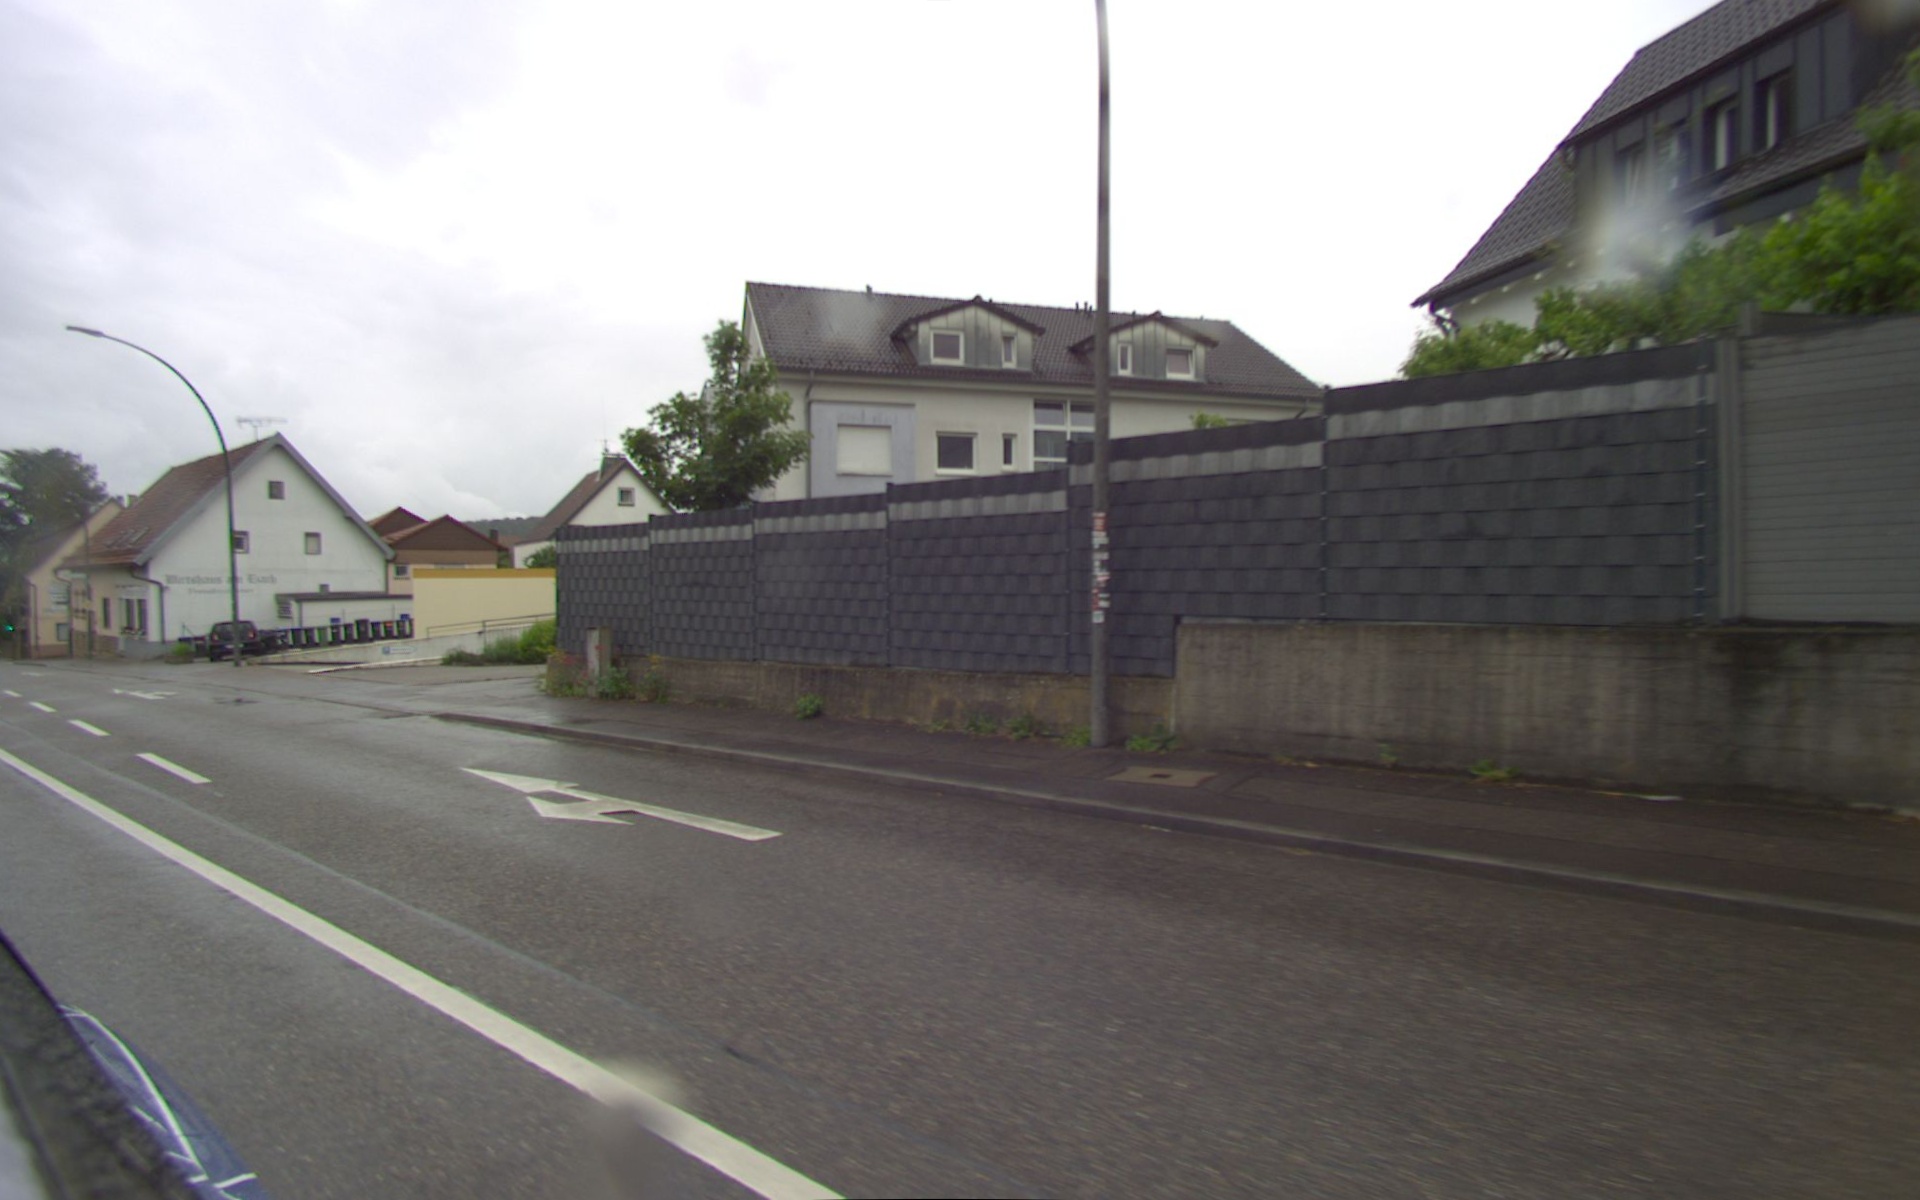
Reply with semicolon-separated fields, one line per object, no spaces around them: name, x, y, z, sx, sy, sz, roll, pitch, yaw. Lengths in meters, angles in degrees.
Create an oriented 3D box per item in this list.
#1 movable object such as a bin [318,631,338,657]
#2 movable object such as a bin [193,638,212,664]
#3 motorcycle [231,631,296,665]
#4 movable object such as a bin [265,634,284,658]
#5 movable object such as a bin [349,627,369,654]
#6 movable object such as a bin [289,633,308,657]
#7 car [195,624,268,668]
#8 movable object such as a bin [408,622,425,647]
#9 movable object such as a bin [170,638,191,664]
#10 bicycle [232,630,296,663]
movable object such as a bin;-27.811;1.938;44.535;0.630;1.040;0.606;-5;1;-36
movable object such as a bin;-31.529;2.125;42.129;0.629;1.040;0.606;1;-3;-36
motorcycle;-28.287;1.931;41.129;2.082;1.122;0.782;-5;2;-33
movable object such as a bin;-29.548;1.969;43.615;0.629;1.040;0.606;1;-3;-36
movable object such as a bin;-26.849;1.824;45.189;0.630;1.138;0.606;-6;1;-36
movable object such as a bin;-28.811;1.944;44.077;0.629;1.040;0.606;1;-3;-36
car;-27.653;1.730;38.505;1.875;1.453;3.839;-3;-1;-31
movable object such as a bin;-24.248;1.541;45.156;0.660;1.087;0.626;0;-2;-27
movable object such as a bin;-32.145;2.100;41.730;0.629;1.040;0.675;1;-3;-36
bicycle;-28.696;1.913;41.772;2.069;1.122;0.739;-5;3;-33
